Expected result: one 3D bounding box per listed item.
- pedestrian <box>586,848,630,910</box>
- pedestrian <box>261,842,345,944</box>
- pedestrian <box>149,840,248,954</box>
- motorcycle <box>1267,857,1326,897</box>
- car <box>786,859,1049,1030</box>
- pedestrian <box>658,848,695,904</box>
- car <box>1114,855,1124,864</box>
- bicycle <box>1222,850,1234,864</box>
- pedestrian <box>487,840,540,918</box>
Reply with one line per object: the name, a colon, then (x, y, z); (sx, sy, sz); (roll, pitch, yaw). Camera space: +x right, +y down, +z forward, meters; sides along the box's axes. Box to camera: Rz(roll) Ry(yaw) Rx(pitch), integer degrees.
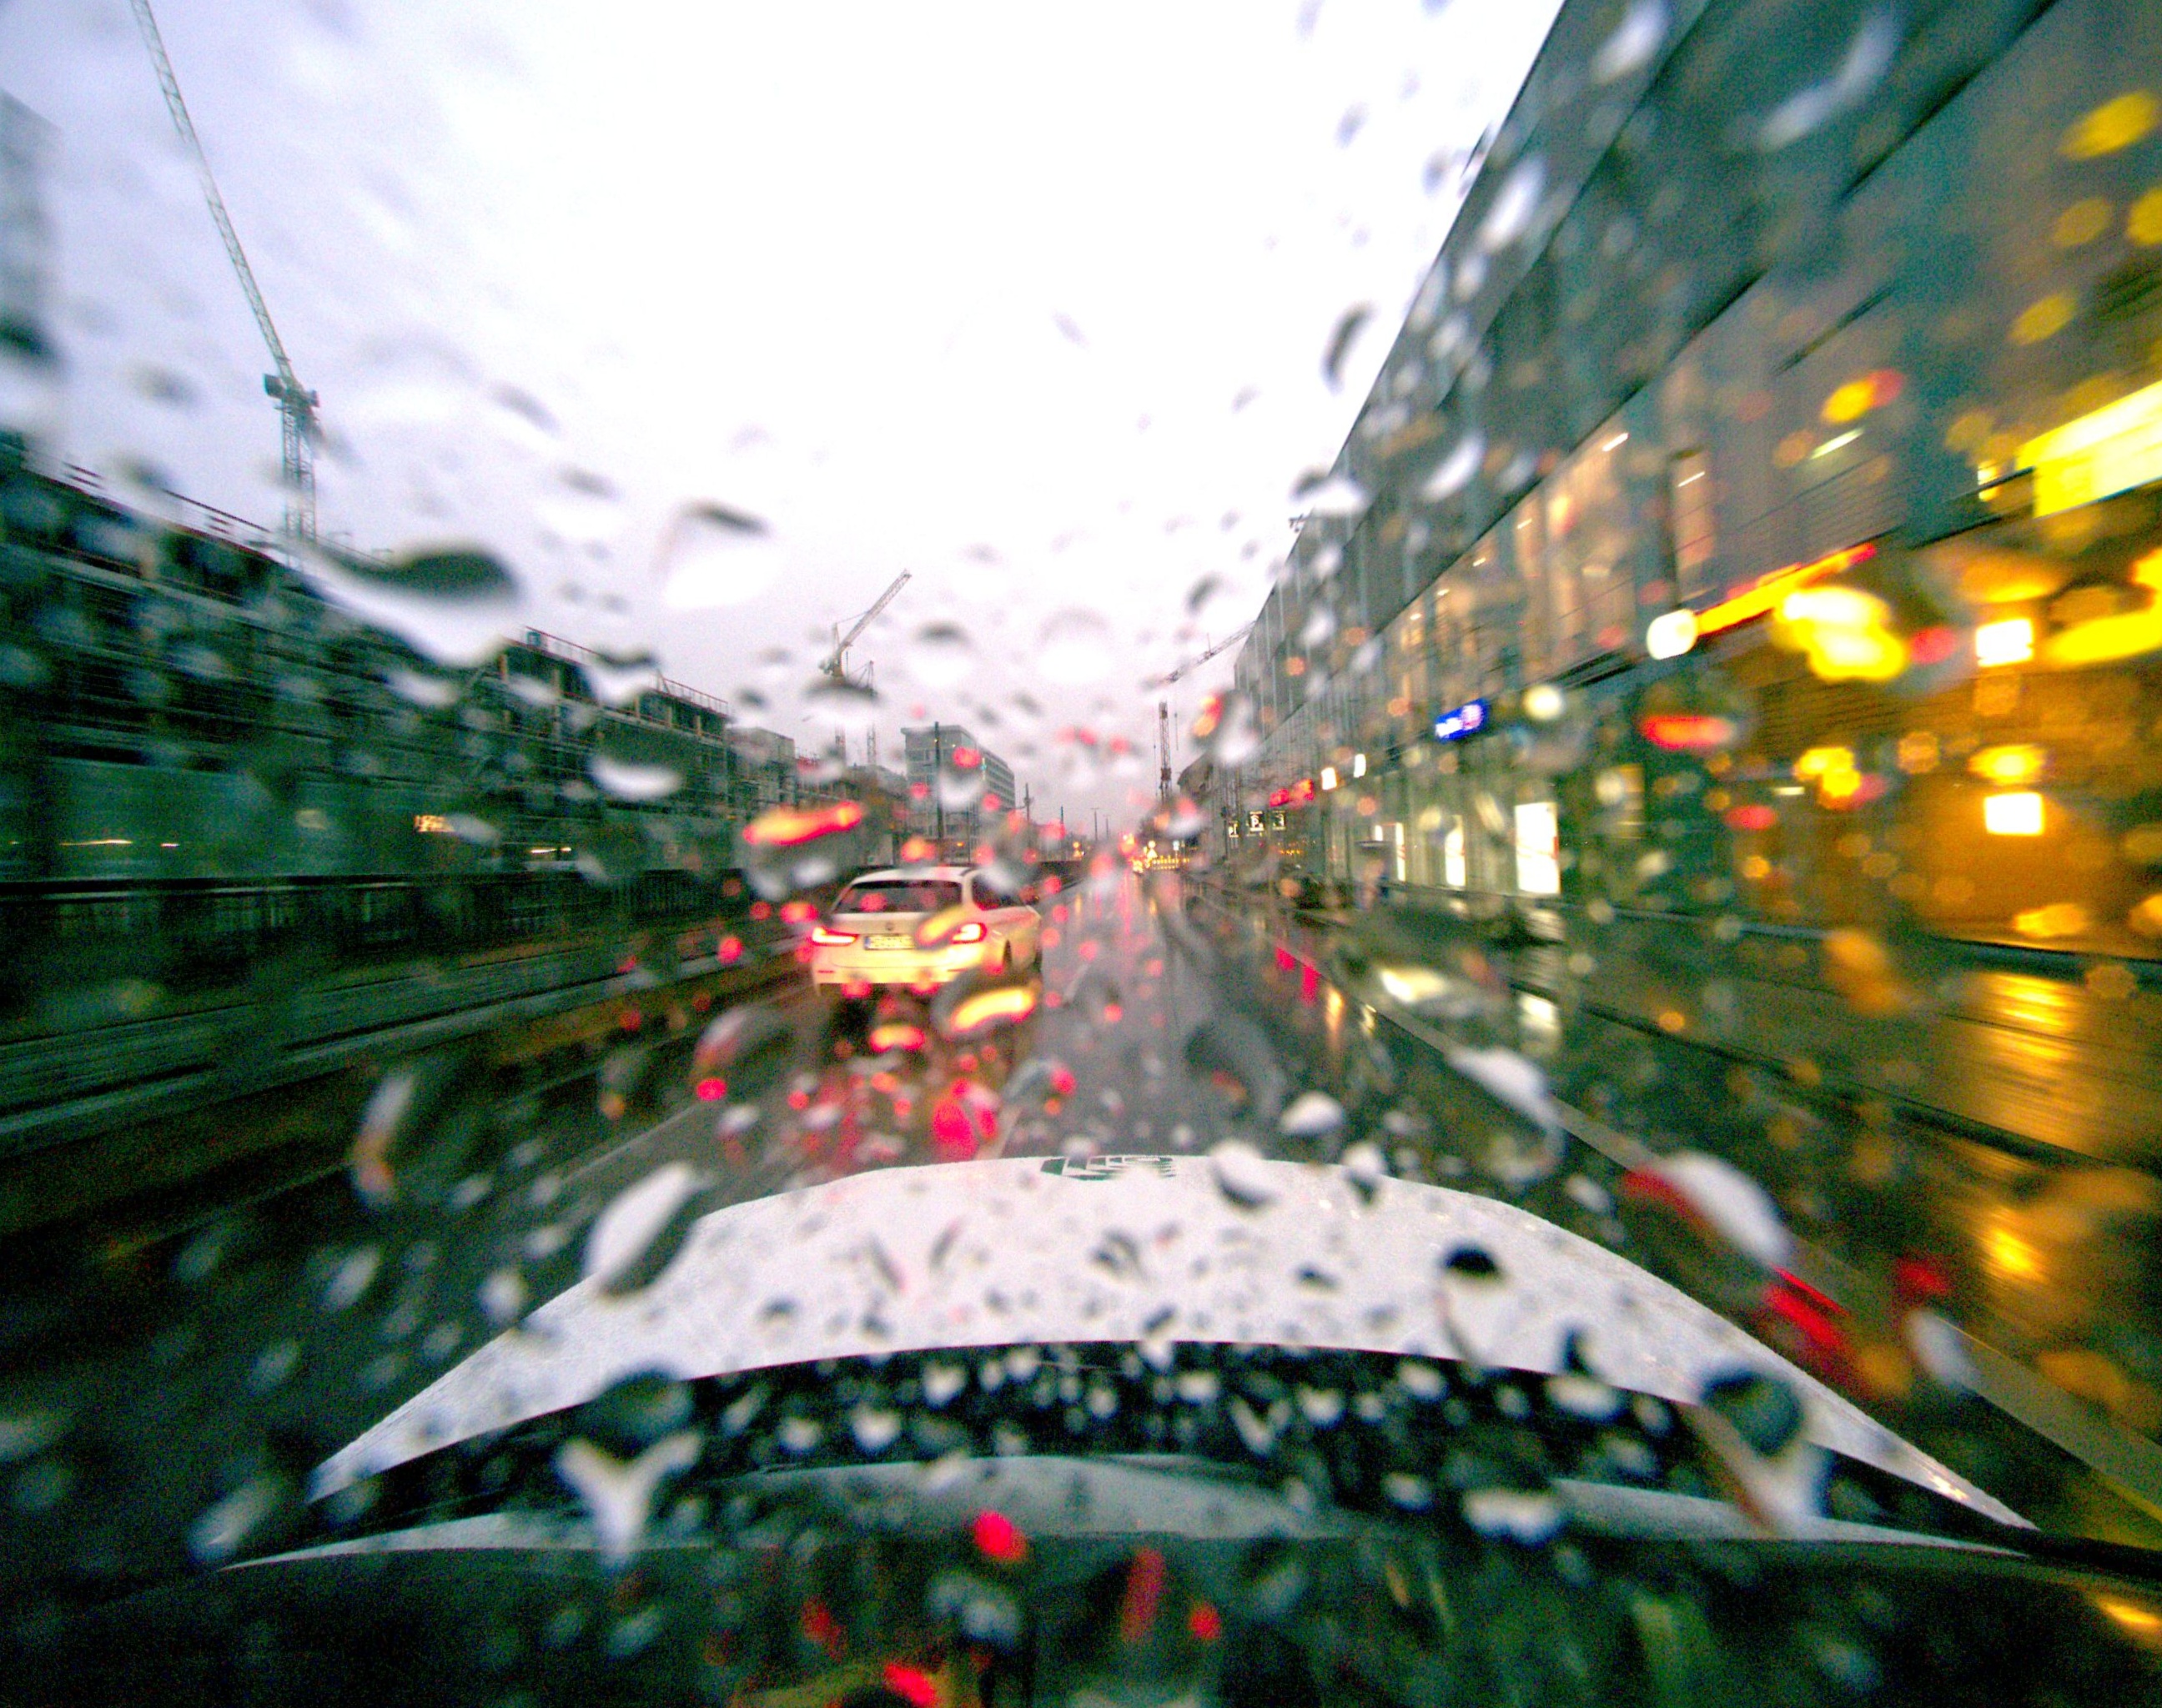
pedestrian: (-11.951, 0.620, 20.598); (0.580, 1.550, 0.743); (-1, -1, 14)
pedestrian: (-12.175, 0.594, 12.764); (0.580, 1.550, 0.743); (-1, -1, 14)
pedestrian: (-12.457, 0.595, 11.509); (0.580, 1.550, 0.743); (-1, -1, 14)
motorcycle: (7.467, 0.818, 28.319); (1.885, 1.333, 0.599); (-3, -2, 44)
car: (-1.565, 0.825, 9.727); (1.844, 1.465, 4.951); (-1, 0, 3)
pedestrian: (-11.572, 0.623, 23.302); (0.580, 1.550, 0.743); (-1, -1, 14)
car: (7.724, 1.140, 164.710); (1.892, 1.642, 4.004); (-1, 0, 4)
bicycle: (13.551, 0.310, 75.160); (0.680, 1.222, 1.907); (-5, -1, 3)
pedestrian: (-12.661, 0.551, 18.171); (0.580, 1.701, 0.743); (-1, -1, 14)
